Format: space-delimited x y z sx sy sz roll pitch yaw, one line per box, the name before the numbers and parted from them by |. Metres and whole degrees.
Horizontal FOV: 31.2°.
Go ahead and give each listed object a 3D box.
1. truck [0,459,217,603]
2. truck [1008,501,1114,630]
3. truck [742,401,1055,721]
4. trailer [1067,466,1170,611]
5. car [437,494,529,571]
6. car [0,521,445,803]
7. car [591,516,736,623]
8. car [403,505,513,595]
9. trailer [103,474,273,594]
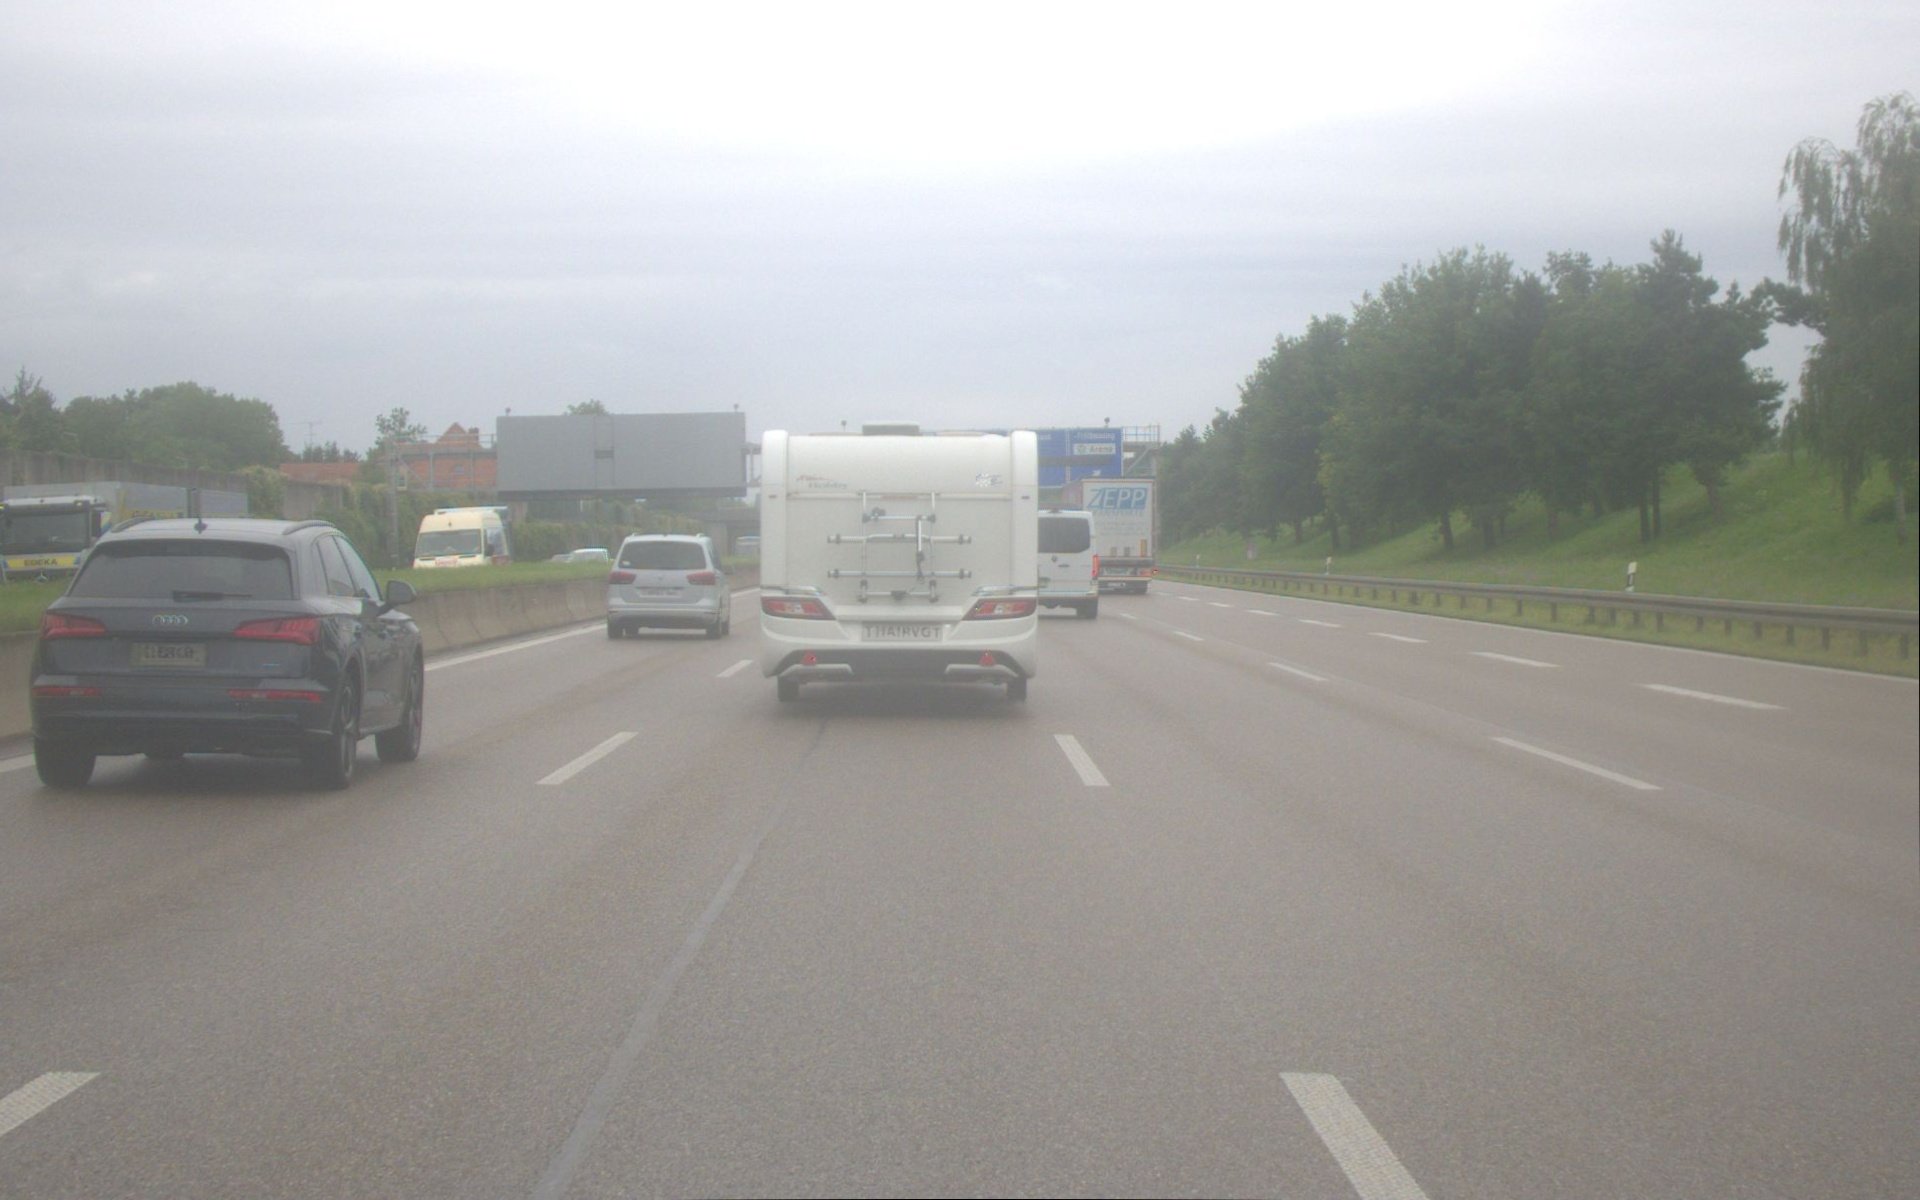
truck | -20.717 -1.633 83.281 2.884 3.210 11.358 1 1 0
truck | 2.216 -0.787 77.149 2.053 2.760 5.549 1 1 -1
truck | -0.586 -0.364 32.281 2.661 2.733 5.078 1 1 -1
trailer | 5.596 -2.153 122.981 3.100 4.905 11.790 1 1 0
car | -17.407 -2.435 125.853 2.322 2.725 7.316 1 1 0
car | -4.686 0.328 22.320 1.993 1.594 5.124 1 1 -1
car | -4.866 -0.524 56.950 2.127 1.700 4.113 0 1 -1
car | -13.850 -1.379 95.258 2.058 2.377 7.324 1 1 -1
trailer | -20.771 -1.741 92.927 2.777 3.066 7.873 1 1 0
